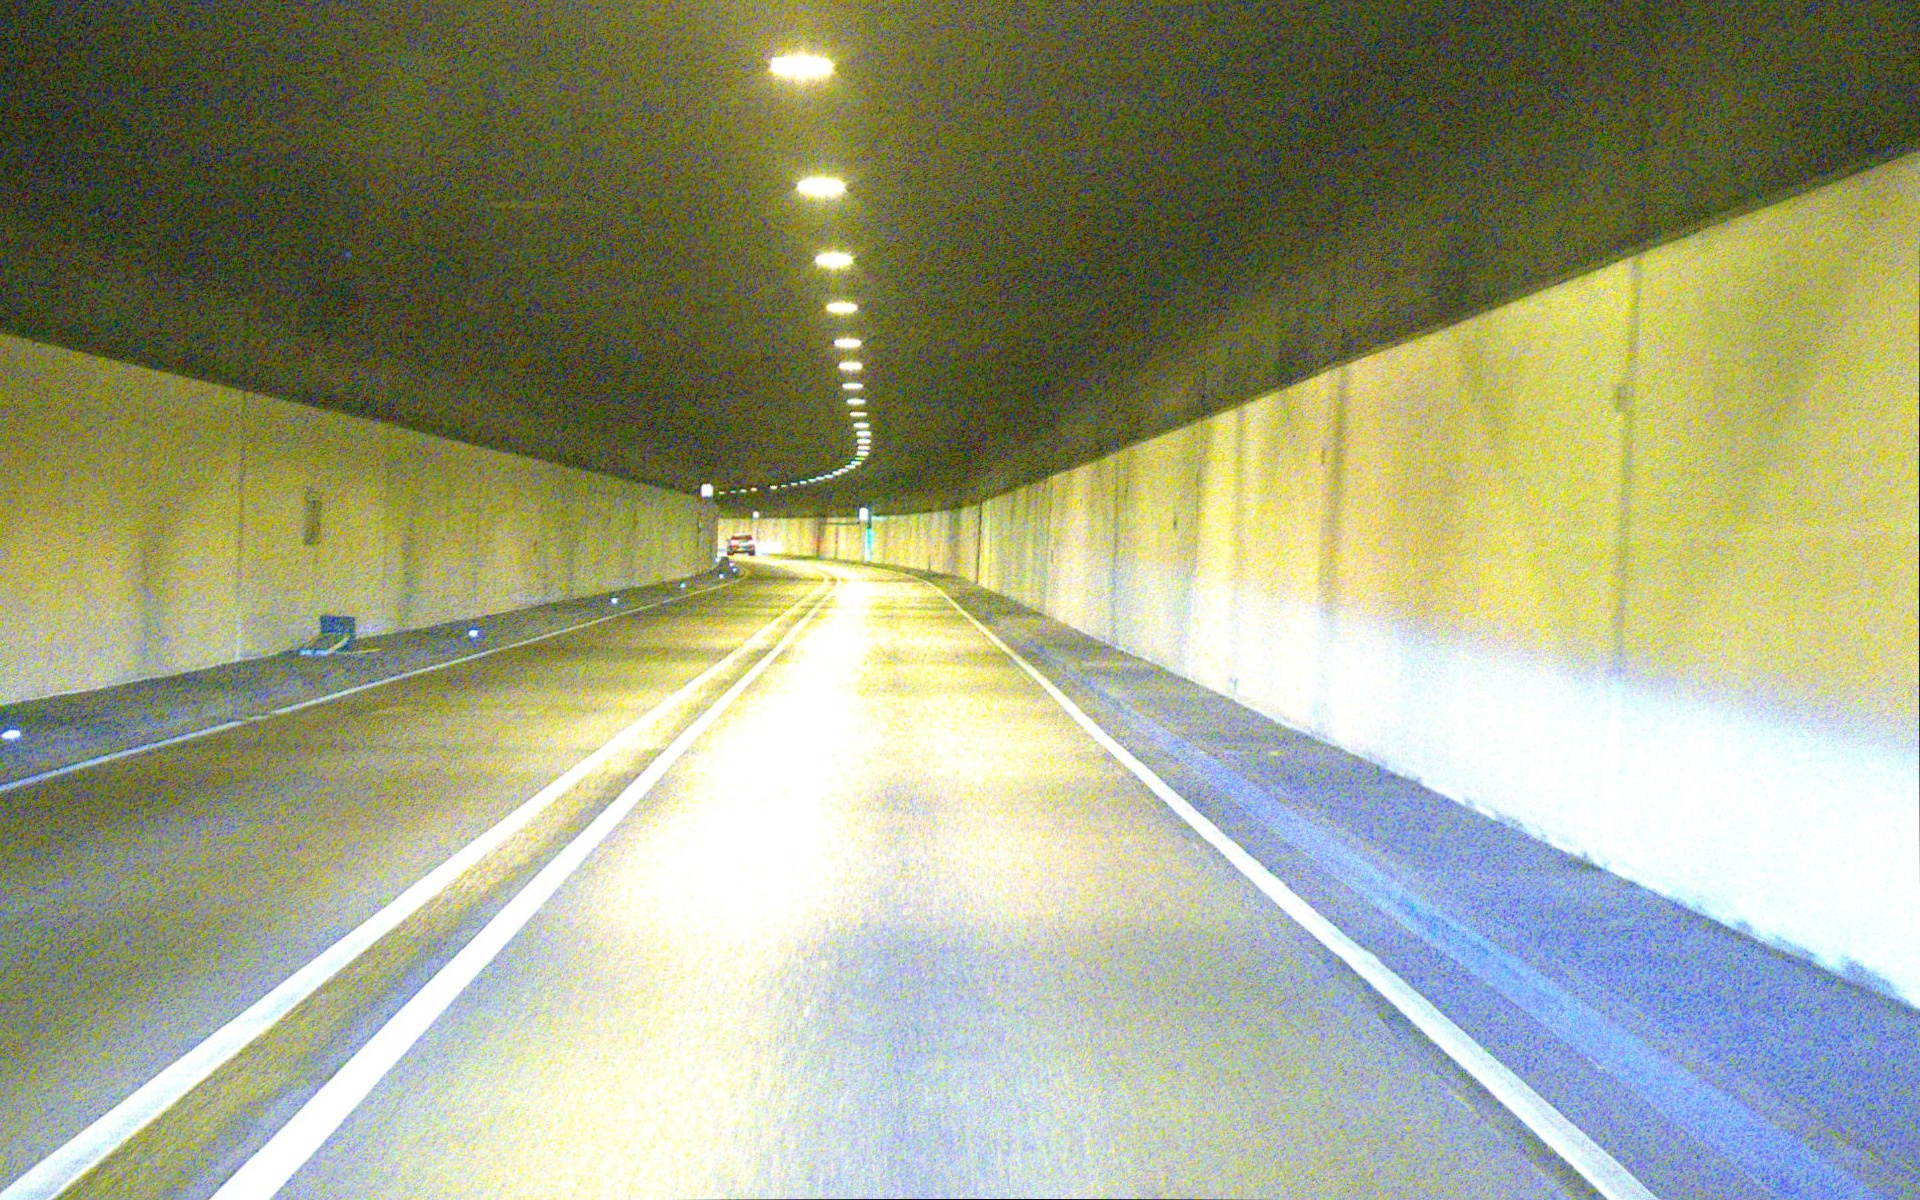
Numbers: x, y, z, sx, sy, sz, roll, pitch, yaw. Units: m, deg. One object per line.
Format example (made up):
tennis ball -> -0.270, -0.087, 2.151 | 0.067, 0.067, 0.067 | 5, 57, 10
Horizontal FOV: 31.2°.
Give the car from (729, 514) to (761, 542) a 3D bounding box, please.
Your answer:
car -> -15.710, -5.226, 250.909 | 1.966, 1.932, 4.614 | 1, 0, -8
